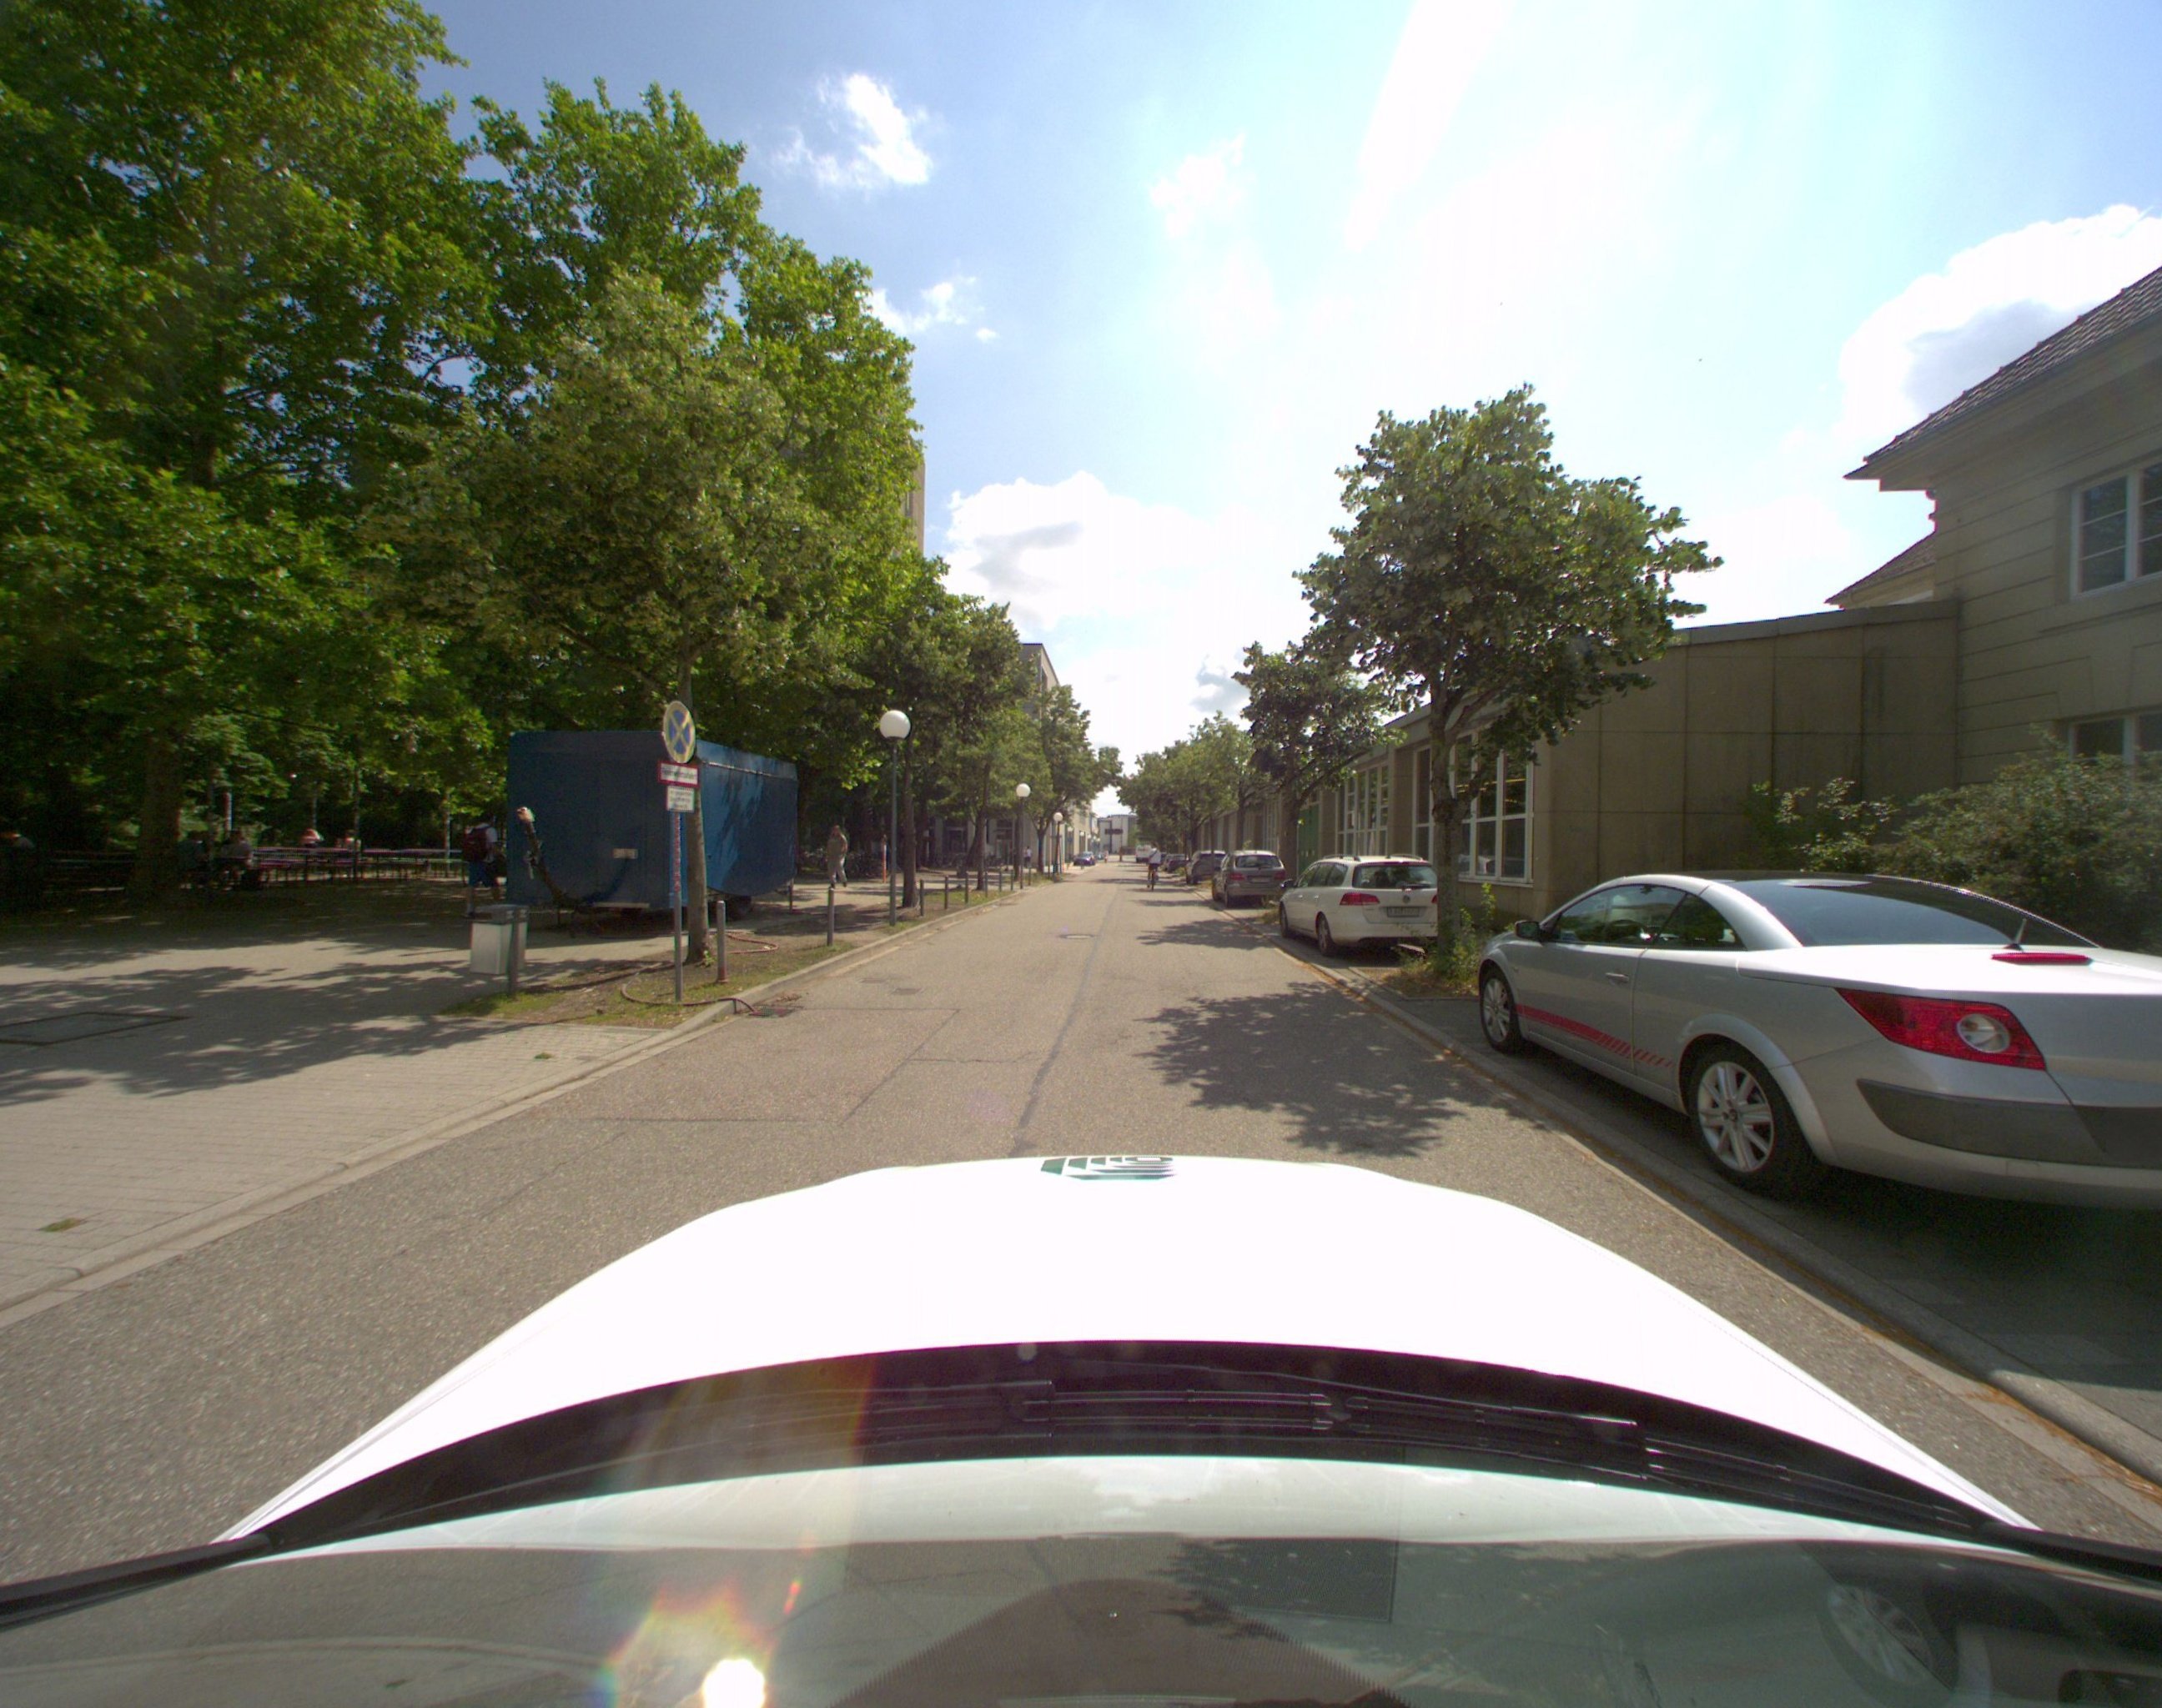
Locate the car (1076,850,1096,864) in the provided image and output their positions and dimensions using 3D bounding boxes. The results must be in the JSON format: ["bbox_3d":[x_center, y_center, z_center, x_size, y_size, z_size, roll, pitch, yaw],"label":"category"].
[{"bbox_3d":[0.526,0.312,87.428,1.758,1.427,4.240,1,0,5],"label":"car"}]

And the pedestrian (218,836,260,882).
[{"bbox_3d":[-22.792,0.130,22.059,0.390,1.194,0.729,2,0,-6],"label":"pedestrian"}]

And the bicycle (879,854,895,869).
[{"bbox_3d":[-14.668,0.527,61.709,0.549,1.086,1.975,2,0,4],"label":"bicycle"}]

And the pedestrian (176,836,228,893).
[{"bbox_3d":[-19.569,0.227,18.147,0.597,1.233,0.735,1,2,-31],"label":"pedestrian"}]

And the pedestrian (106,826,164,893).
[{"bbox_3d":[-19.949,0.111,17.190,0.597,1.369,0.697,1,2,-31],"label":"pedestrian"}]

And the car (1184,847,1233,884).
[{"bbox_3d":[6.195,0.574,39.947,1.815,1.664,4.586,-1,-1,2],"label":"car"}]

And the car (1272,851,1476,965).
[{"bbox_3d":[4.365,0.701,12.948,1.719,1.467,4.674,0,0,2],"label":"car"}]

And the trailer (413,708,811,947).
[{"bbox_3d":[-7.134,-0.357,13.699,2.685,3.026,6.272,2,0,3],"label":"trailer"}]

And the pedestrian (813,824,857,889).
[{"bbox_3d":[-7.738,0.075,25.667,0.911,1.954,0.895,3,0,13],"label":"pedestrian"}]

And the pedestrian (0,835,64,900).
[{"bbox_3d":[-21.486,0.267,16.615,0.557,1.271,0.694,2,0,4],"label":"pedestrian"}]

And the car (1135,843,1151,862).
[{"bbox_3d":[8.622,-0.177,113.652,2.075,2.539,4.319,2,0,3],"label":"car"}]

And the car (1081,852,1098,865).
[{"bbox_3d":[1.007,0.503,92.646,1.623,1.485,4.182,1,0,4],"label":"car"}]

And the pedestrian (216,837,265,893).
[{"bbox_3d":[-19.009,0.241,18.428,0.597,1.233,0.735,1,2,-31],"label":"pedestrian"}]

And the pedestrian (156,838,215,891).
[{"bbox_3d":[-21.696,0.253,19.748,0.568,1.250,0.765,2,0,-8],"label":"pedestrian"}]

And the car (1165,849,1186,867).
[{"bbox_3d":[7.965,0.329,69.101,1.609,1.538,3.784,1,0,4],"label":"car"}]

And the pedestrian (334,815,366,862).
[{"bbox_3d":[-22.482,-0.476,25.051,0.505,1.422,0.459,2,0,-7],"label":"pedestrian"}]

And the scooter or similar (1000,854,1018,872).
[{"bbox_3d":[-4.866,0.595,55.051,0.336,1.175,1.336,1,0,38],"label":"scooter or similar"}]

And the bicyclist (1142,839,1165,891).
[{"bbox_3d":[2.864,0.419,32.326,0.870,2.013,0.850,1,0,3],"label":"bicyclist"}]

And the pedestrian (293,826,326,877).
[{"bbox_3d":[-23.569,-0.072,24.884,0.505,1.522,0.473,2,0,-8],"label":"pedestrian"}]

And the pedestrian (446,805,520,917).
[{"bbox_3d":[-10.166,0.098,13.876,0.856,1.835,0.871,1,2,-27],"label":"pedestrian"}]

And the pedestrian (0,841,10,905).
[{"bbox_3d":[-22.659,0.393,16.700,0.642,1.323,0.560,0,0,5],"label":"pedestrian"}]

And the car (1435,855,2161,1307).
[{"bbox_3d":[3.660,0.743,4.642,1.640,1.390,3.990,-1,1,1],"label":"car"}]

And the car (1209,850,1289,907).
[{"bbox_3d":[4.966,0.670,24.613,1.697,1.574,4.142,-1,0,2],"label":"car"}]

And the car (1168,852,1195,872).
[{"bbox_3d":[7.843,0.593,63.719,1.773,1.476,4.466,-1,0,4],"label":"car"}]

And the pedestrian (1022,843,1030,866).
[{"bbox_3d":[-4.667,0.012,68.696,0.414,1.941,0.657,2,0,-26],"label":"pedestrian"}]

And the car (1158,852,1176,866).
[{"bbox_3d":[9.701,0.564,91.692,1.850,1.574,4.004,-1,0,4],"label":"car"}]

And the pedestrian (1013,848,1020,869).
[{"bbox_3d":[-5.498,0.385,69.568,0.443,1.775,0.447,1,0,-27],"label":"pedestrian"}]

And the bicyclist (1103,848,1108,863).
[{"bbox_3d":[3.173,0.189,105.613,0.709,2.013,1.019,-1,0,1],"label":"bicyclist"}]

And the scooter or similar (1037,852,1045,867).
[{"bbox_3d":[-3.462,0.484,70.969,0.452,1.223,1.552,1,0,7],"label":"scooter or similar"}]

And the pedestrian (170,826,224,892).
[{"bbox_3d":[-18.942,0.104,17.462,0.597,1.369,0.735,1,2,-31],"label":"pedestrian"}]

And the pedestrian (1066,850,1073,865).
[{"bbox_3d":[-1.288,0.421,92.621,0.649,1.701,0.887,1,0,-7],"label":"pedestrian"}]
